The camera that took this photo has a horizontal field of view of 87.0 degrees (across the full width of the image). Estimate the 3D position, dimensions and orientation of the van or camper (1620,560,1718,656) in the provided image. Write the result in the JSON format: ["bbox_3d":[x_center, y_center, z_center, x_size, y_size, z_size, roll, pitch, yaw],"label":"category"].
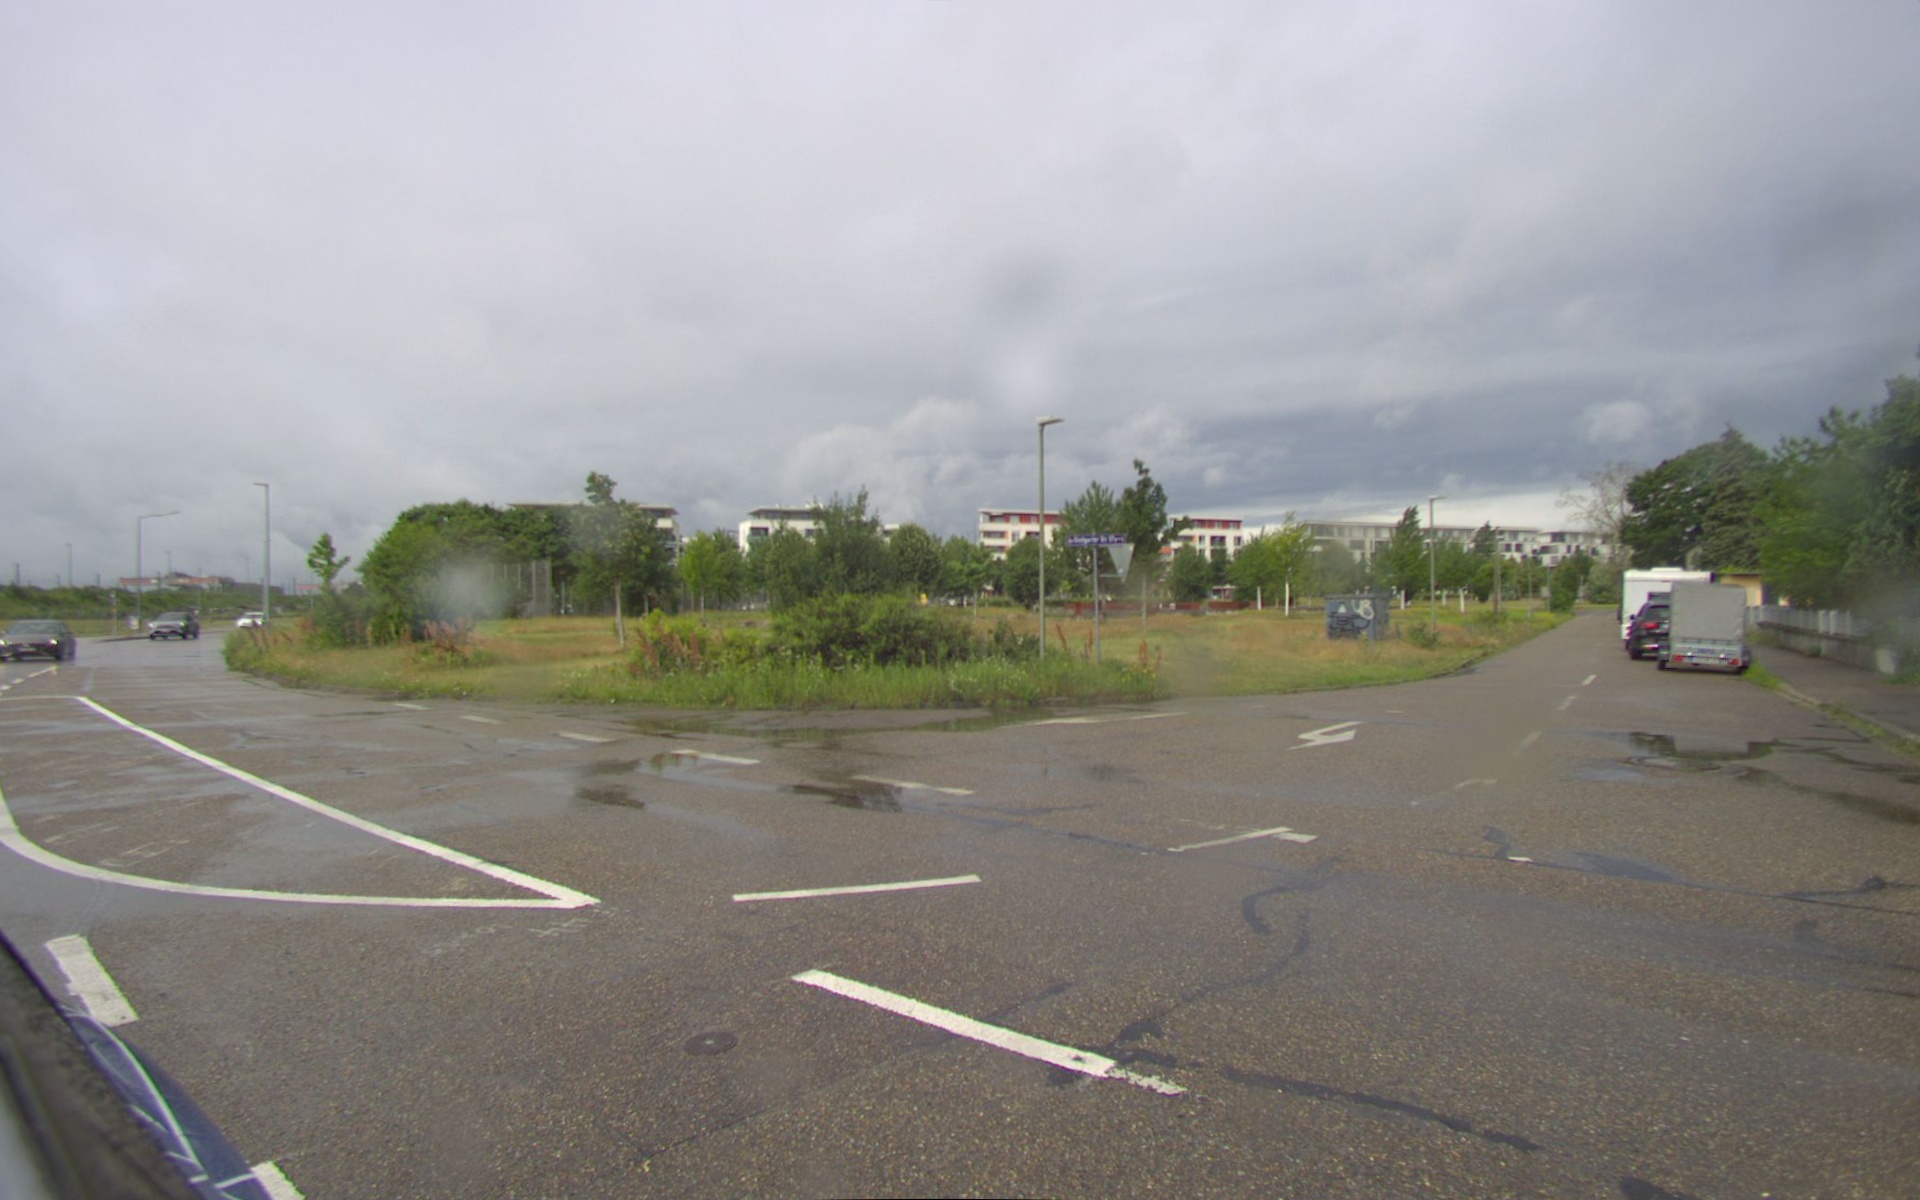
[{"bbox_3d":[23.680,0.258,33.817,2.479,2.968,4.461,-1,-1,36],"label":"van or camper"}]

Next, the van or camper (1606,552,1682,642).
[{"bbox_3d":[31.006,-0.100,45.776,2.649,3.772,5.780,-1,-1,36],"label":"van or camper"}]

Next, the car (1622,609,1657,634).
[{"bbox_3d":[40.679,1.259,60.565,1.641,1.409,3.952,-1,-1,35],"label":"car"}]

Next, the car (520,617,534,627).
[{"bbox_3d":[-66.234,3.292,154.771,1.659,1.407,4.142,-3,1,-27],"label":"car"}]

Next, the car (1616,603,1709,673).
[{"bbox_3d":[19.748,1.012,28.432,1.996,1.789,4.464,-1,-1,36],"label":"car"}]

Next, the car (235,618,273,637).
[{"bbox_3d":[-59.729,2.333,85.658,1.811,1.530,4.371,-1,-1,-24],"label":"car"}]

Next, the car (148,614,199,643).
[{"bbox_3d":[-49.363,1.791,63.575,1.977,1.718,4.342,-1,-1,-30],"label":"car"}]

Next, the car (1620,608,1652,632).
[{"bbox_3d":[47.489,1.407,71.129,1.644,1.652,3.957,-1,-1,31],"label":"car"}]

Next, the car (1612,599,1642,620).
[{"bbox_3d":[56.144,0.788,85.184,1.996,1.741,3.952,-1,-1,35],"label":"car"}]

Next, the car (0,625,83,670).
[{"bbox_3d":[-34.052,1.717,37.367,1.843,1.530,4.369,2,-2,-33],"label":"car"}]

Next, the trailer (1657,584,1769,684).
[{"bbox_3d":[17.731,0.716,23.995,1.839,2.105,4.067,-1,1,33],"label":"trailer"}]
